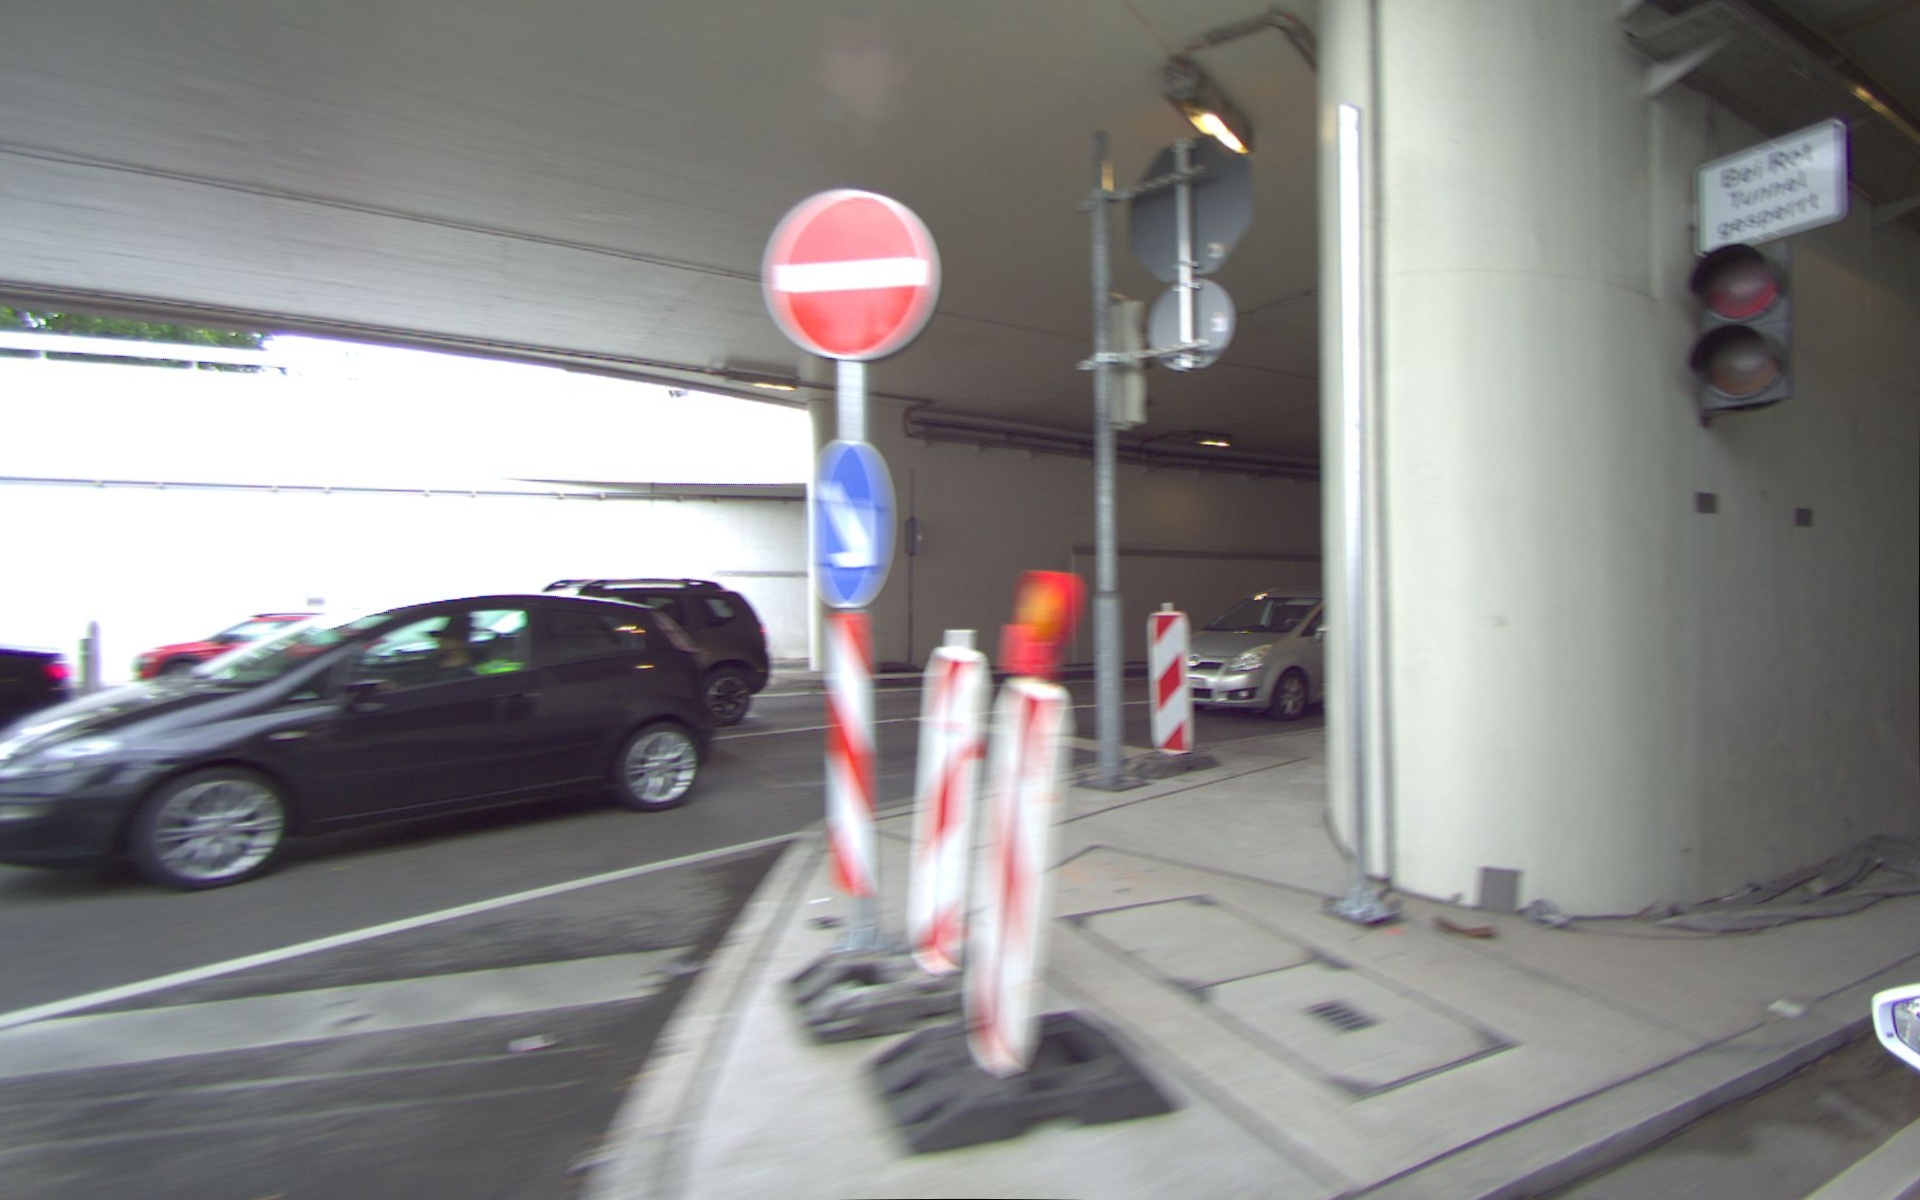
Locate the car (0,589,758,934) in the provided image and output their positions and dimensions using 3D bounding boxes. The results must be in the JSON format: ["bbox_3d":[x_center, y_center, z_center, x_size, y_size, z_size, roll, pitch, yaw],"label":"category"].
[{"bbox_3d":[-3.417,0.680,6.233,1.645,1.460,4.091,-1,0,41],"label":"car"}]

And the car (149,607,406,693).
[{"bbox_3d":[-13.005,0.911,19.464,3.951,1.534,1.639,0,-1,-29],"label":"car"}]

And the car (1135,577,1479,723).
[{"bbox_3d":[4.717,0.542,13.385,4.735,1.626,1.798,-1,0,-33],"label":"car"}]

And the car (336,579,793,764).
[{"bbox_3d":[-4.111,0.584,10.923,4.297,1.621,1.776,-1,2,-43],"label":"car"}]

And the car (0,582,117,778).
[{"bbox_3d":[-8.837,0.589,6.541,1.825,1.462,4.831,0,-1,33],"label":"car"}]
